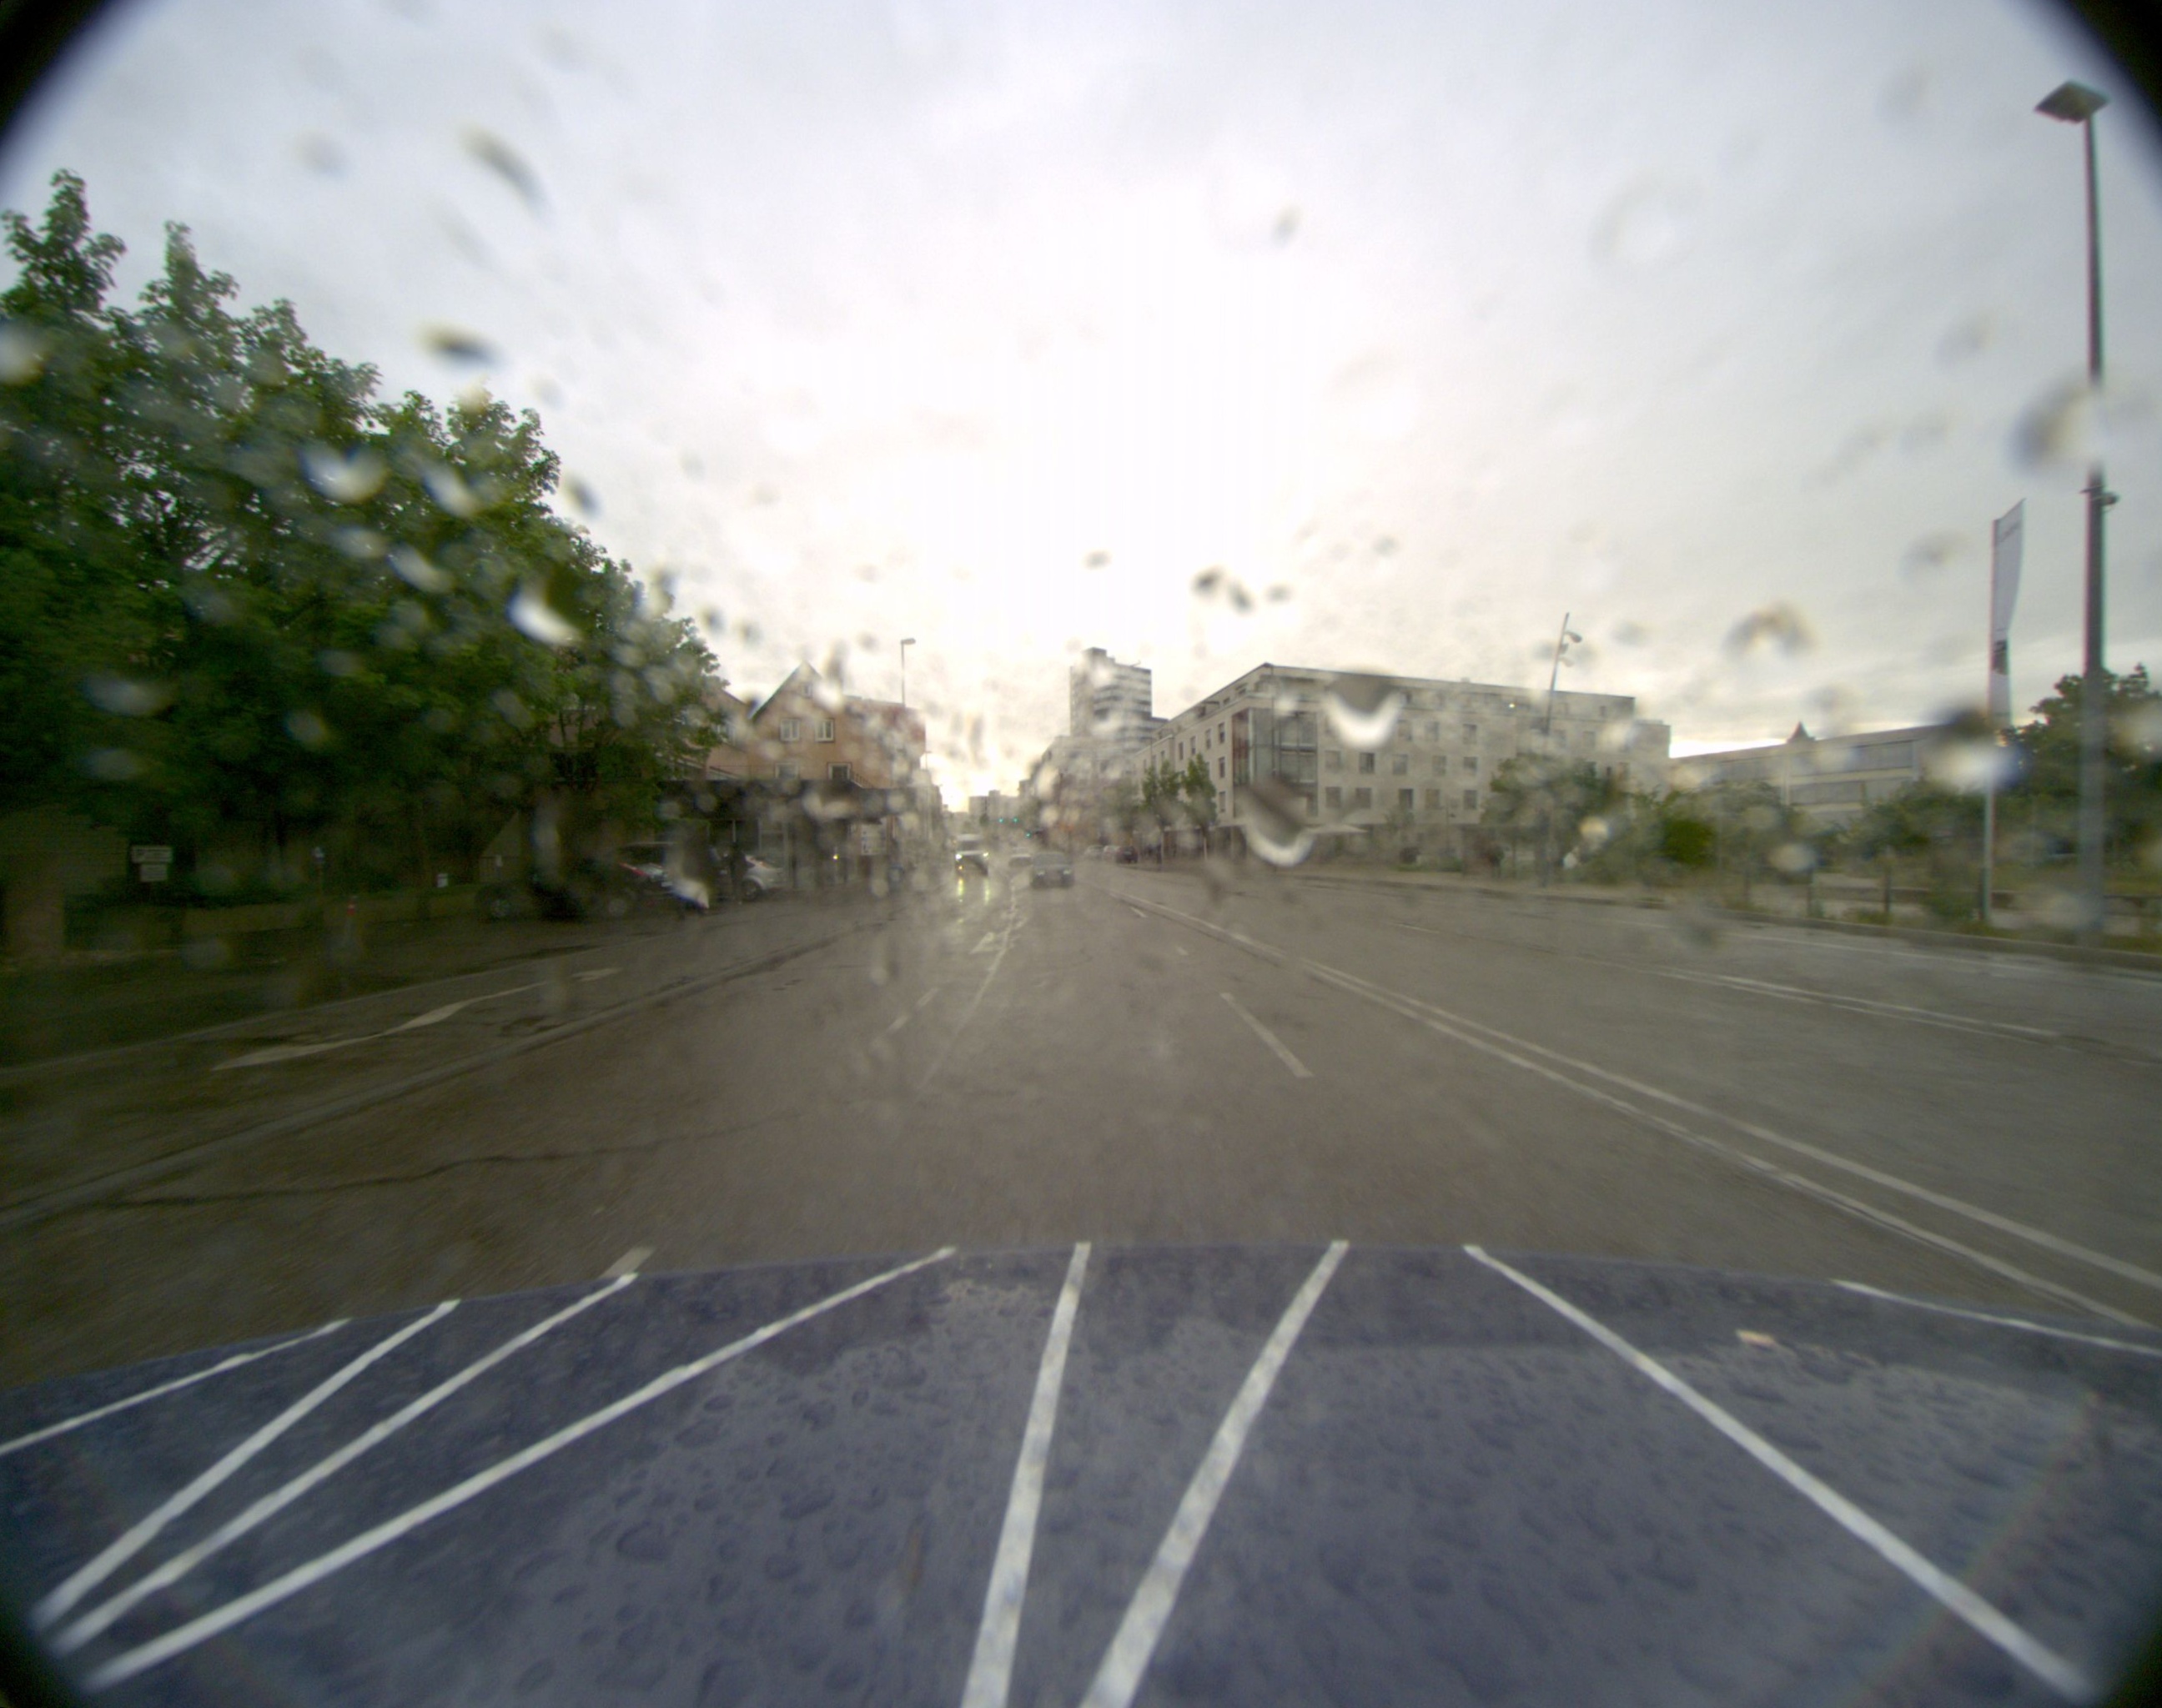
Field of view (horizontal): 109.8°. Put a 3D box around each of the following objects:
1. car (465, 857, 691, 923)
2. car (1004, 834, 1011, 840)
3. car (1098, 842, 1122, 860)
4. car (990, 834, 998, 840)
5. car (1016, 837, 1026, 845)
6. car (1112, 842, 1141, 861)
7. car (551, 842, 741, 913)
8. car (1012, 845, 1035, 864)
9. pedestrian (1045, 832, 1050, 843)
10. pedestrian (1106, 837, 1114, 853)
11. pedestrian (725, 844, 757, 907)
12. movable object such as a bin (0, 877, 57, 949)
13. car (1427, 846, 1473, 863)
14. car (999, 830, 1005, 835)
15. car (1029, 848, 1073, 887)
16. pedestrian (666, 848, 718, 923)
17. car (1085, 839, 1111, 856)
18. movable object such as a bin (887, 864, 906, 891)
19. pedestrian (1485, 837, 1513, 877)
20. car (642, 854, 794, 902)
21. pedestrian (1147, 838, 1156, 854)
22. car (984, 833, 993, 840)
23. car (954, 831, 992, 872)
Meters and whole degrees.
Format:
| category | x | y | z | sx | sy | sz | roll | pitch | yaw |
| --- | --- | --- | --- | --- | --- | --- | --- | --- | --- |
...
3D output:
| category | x | y | z | sx | sy | sz | roll | pitch | yaw |
| --- | --- | --- | --- | --- | --- | --- | --- | --- | --- |
| car | -12.012 | 0.821 | 18.404 | 4.160 | 1.446 | 1.801 | 0 | 2 | -6 |
| car | -20.326 | -4.638 | 209.181 | 1.655 | 1.410 | 4.133 | 2 | 3 | -8 |
| car | 2.672 | -0.302 | 70.985 | 1.696 | 1.502 | 4.572 | 0 | 3 | -6 |
| car | -22.183 | -4.346 | 193.284 | 1.774 | 1.406 | 4.519 | 0 | 3 | -9 |
| car | -12.989 | -2.785 | 163.519 | 1.886 | 1.515 | 4.179 | 0 | 3 | -8 |
| car | 3.907 | -0.244 | 65.237 | 1.592 | 1.573 | 4.466 | 0 | 1 | -9 |
| car | -11.872 | 0.598 | 20.973 | 4.106 | 1.860 | 1.875 | 0 | 1 | -3 |
| car | -4.610 | -0.004 | 60.471 | 1.663 | 1.301 | 3.990 | 0 | 3 | -7 |
| pedestrian | -5.814 | -2.888 | 131.944 | 0.663 | 1.911 | 0.945 | -4 | 4 | -16 |
| pedestrian | 3.302 | -0.991 | 86.883 | 0.803 | 1.778 | 0.881 | 0 | 3 | -10 |
| pedestrian | -10.108 | 0.627 | 22.590 | 0.711 | 1.811 | 0.794 | -2 | 4 | -34 |
| movable object such as a bin | -16.355 | 0.890 | 11.554 | 0.646 | 1.050 | 0.640 | 0 | 1 | -9 |
| car | 30.394 | 0.028 | 62.609 | 1.399 | 1.215 | 3.252 | -1 | 3 | -24 |
| car | -24.968 | -6.896 | 240.086 | 2.007 | 1.609 | 4.943 | 0 | 3 | -6 |
| car | -1.327 | 0.512 | 32.340 | 1.689 | 1.374 | 3.790 | -2 | 3 | -4 |
| pedestrian | -9.154 | 0.725 | 17.900 | 0.878 | 1.727 | 0.759 | 0 | 1 | -6 |
| car | 1.691 | -0.671 | 76.640 | 1.801 | 1.455 | 4.472 | -1 | 3 | -10 |
| movable object such as a bin | -7.434 | 0.940 | 30.623 | 0.638 | 1.068 | 0.698 | 0 | 0 | -5 |
| pedestrian | 18.287 | 0.123 | 33.257 | 0.786 | 1.736 | 0.672 | -1 | 4 | -22 |
| car | -11.498 | 0.744 | 24.273 | 3.998 | 1.439 | 1.745 | 0 | 1 | -3 |
| pedestrian | 7.907 | -0.925 | 85.049 | 0.811 | 1.729 | 1.002 | 0 | 3 | -9 |
| car | -21.678 | -4.175 | 178.586 | 1.721 | 1.442 | 4.191 | -1 | 3 | -13 |
| car | -7.156 | -0.244 | 49.987 | 2.298 | 2.369 | 6.616 | 0 | 3 | -9 |
